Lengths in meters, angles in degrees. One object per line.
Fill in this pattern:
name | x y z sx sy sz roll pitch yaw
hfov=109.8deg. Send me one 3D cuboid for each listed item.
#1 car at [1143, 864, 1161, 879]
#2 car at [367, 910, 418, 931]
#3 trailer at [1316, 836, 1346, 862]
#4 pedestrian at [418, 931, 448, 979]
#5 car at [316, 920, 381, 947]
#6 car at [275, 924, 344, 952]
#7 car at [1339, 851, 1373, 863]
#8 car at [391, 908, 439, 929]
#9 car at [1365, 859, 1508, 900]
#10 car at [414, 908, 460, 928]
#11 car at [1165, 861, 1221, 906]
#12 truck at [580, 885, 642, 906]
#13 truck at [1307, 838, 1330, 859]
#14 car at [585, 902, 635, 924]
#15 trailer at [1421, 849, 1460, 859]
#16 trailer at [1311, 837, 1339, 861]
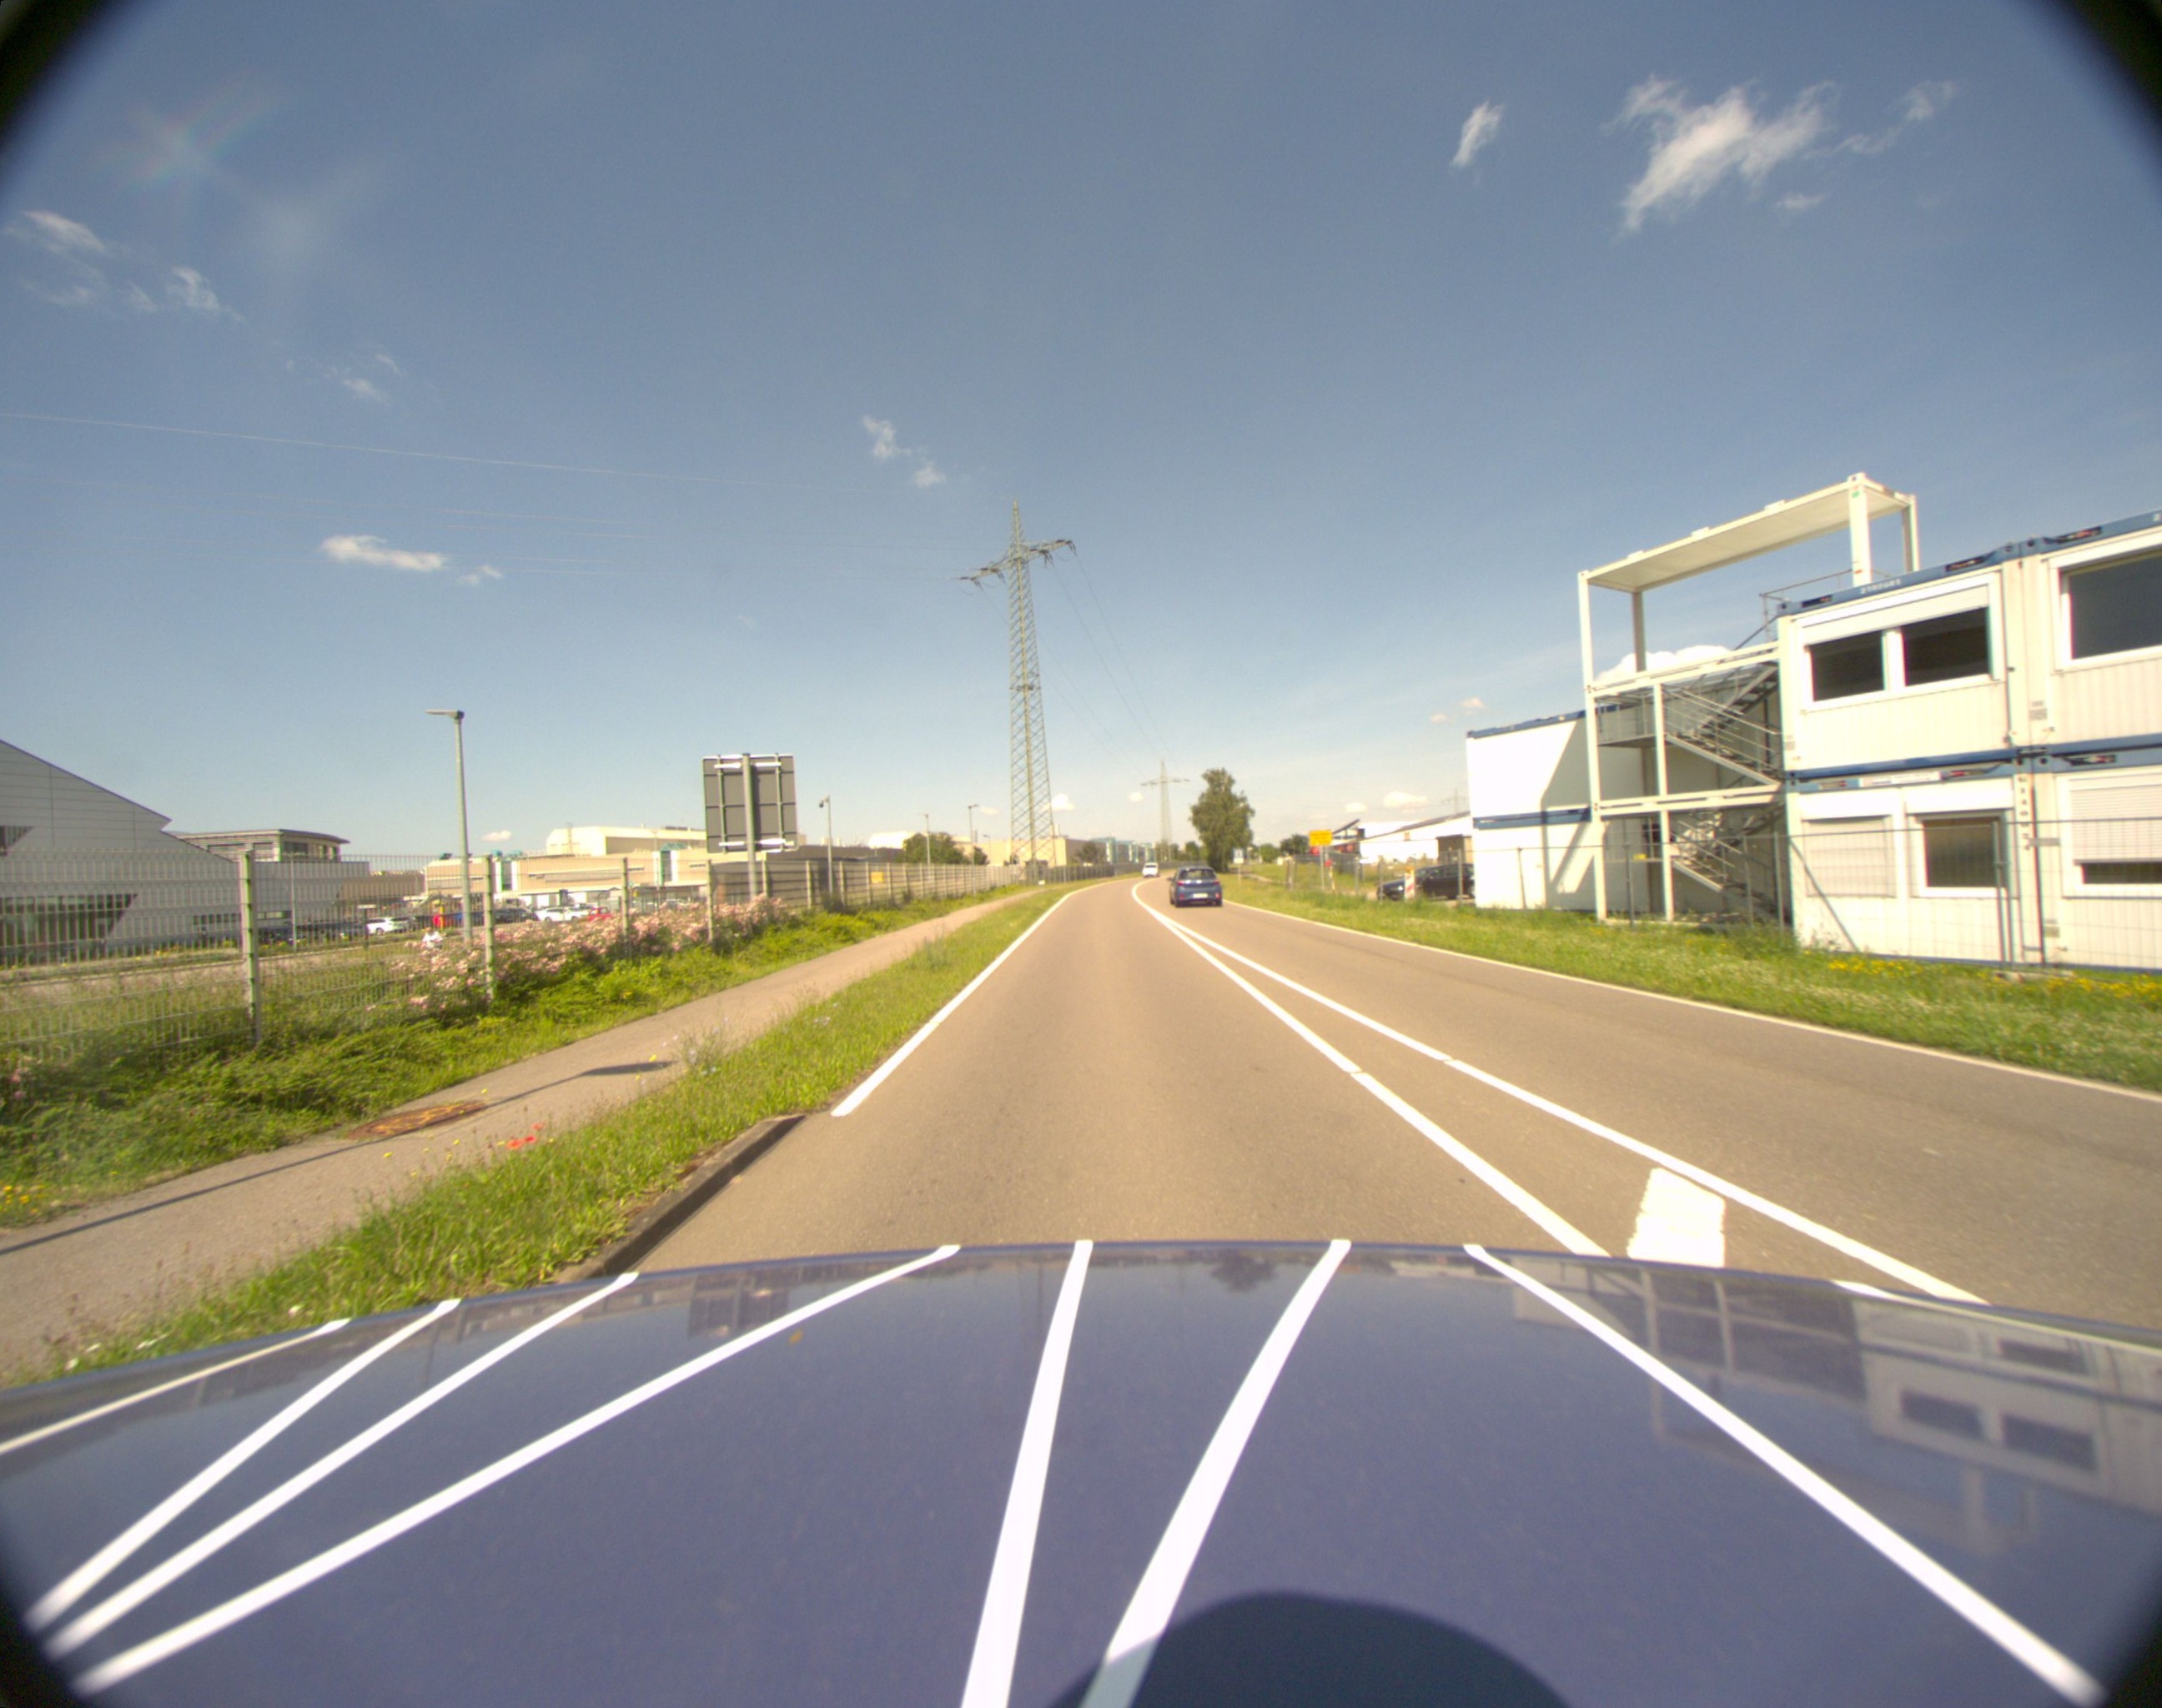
car | 9.023 2.165 96.118 1.835 1.796 4.834 -2 0 11
car | -58.517 5.675 64.595 3.053 1.525 1.472 -3 0 7
trailer | 37.687 -0.762 114.839 3.404 3.623 8.667 -2 0 13
pedestrian | -23.206 3.606 27.218 0.484 1.643 0.574 -3 0 5
car | -49.525 5.381 51.402 3.053 1.525 1.472 -3 0 7
car | -49.666 5.388 48.920 3.053 1.525 1.472 -3 0 7
car | 36.149 0.398 99.950 3.993 1.334 1.749 -3 0 14
car | -58.841 5.700 67.137 3.053 1.525 1.472 -3 0 7
car | 14.608 1.035 31.352 4.985 1.408 1.999 -3 -1 -8
car | -58.983 5.859 69.652 3.053 1.525 1.472 -3 0 7
car | 4.194 1.065 28.962 1.706 1.473 4.001 -2 0 4
truck | -87.308 7.635 141.432 1.997 3.118 11.863 -4 -1 12
truck | 43.314 -0.947 138.727 3.106 3.623 10.604 -2 0 14
car | -38.188 4.749 61.655 3.148 1.525 1.456 -3 0 6
trailer | 45.056 0.009 95.313 3.993 1.159 1.906 -2 0 13
trailer | 40.403 -0.852 126.307 3.295 3.623 14.939 -2 0 14
